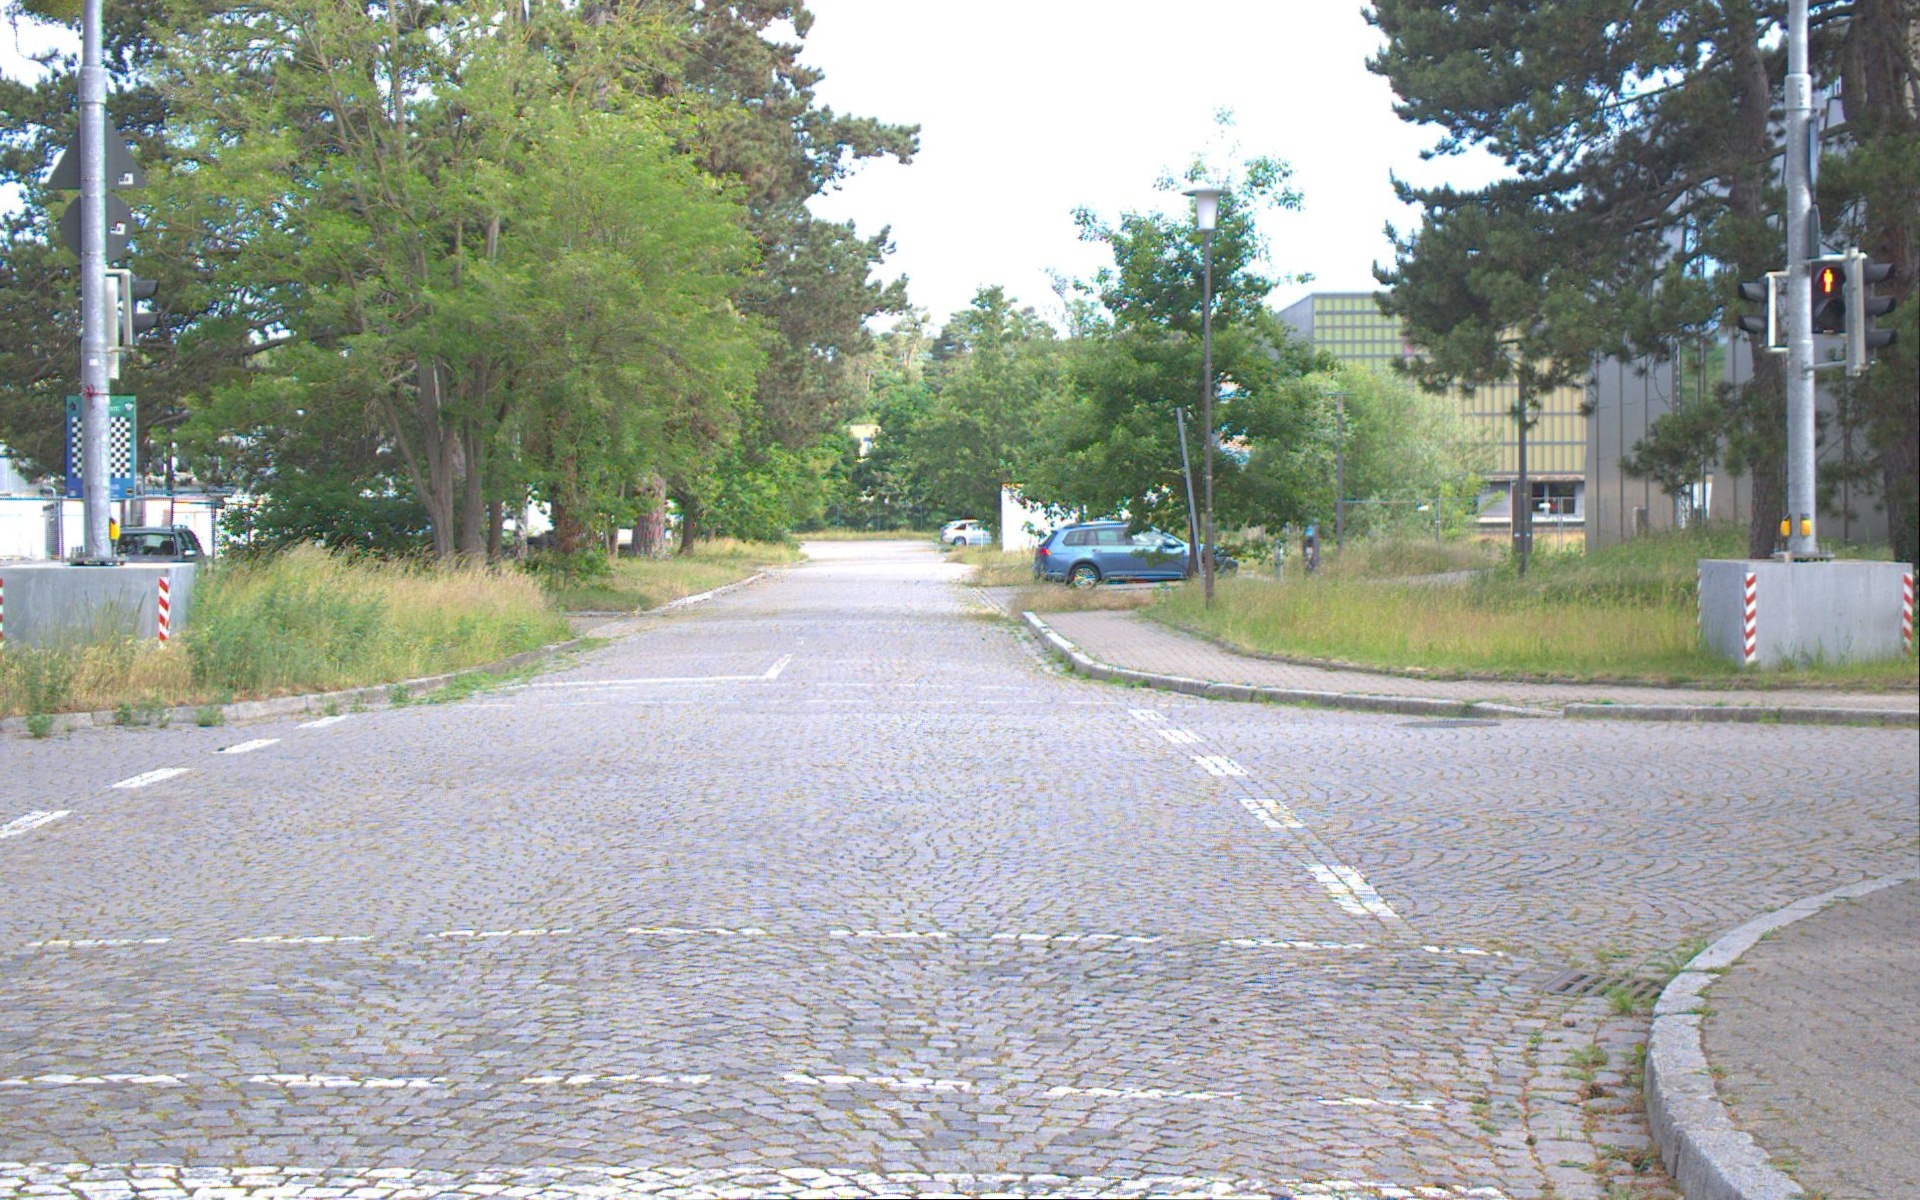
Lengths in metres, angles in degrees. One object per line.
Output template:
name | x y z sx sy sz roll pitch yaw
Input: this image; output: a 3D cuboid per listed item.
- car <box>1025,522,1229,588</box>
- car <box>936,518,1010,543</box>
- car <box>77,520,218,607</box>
car | 3.673 -1.009 76.244 4.343 1.417 2.000 0 1 -3
car | 0.723 -3.916 193.279 3.986 1.393 2.001 -1 2 -6
car | -14.417 -0.673 61.163 1.613 1.482 4.000 0 1 -1
